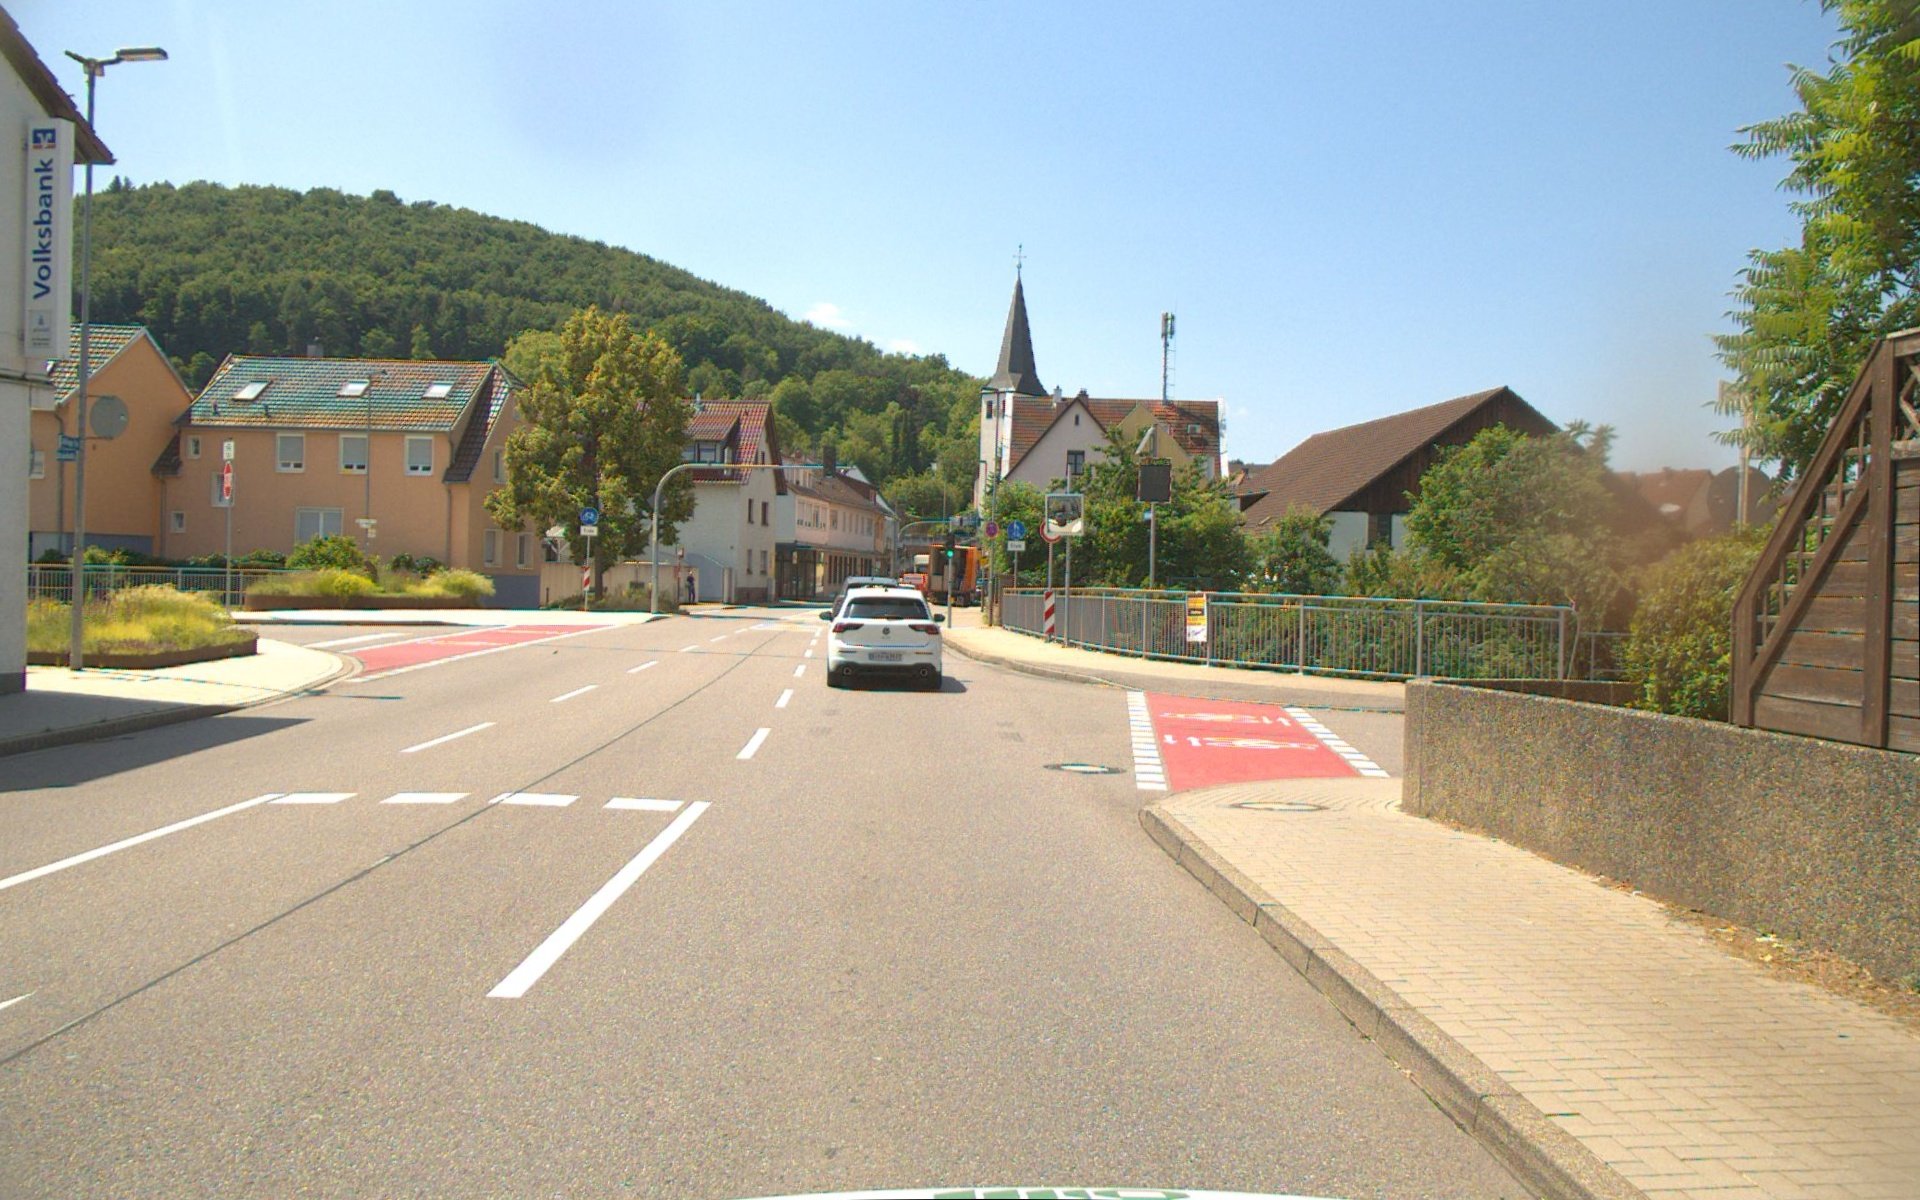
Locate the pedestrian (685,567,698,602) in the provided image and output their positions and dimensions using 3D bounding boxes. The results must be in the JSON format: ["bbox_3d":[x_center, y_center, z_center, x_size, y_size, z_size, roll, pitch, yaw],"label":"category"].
[{"bbox_3d":[-13.886,-0.799,85.554,0.425,1.795,0.557,1,0,19],"label":"pedestrian"}]

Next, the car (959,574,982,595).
[{"bbox_3d":[0.854,-1.209,130.873,1.778,1.545,4.000,0,0,0],"label":"car"}]

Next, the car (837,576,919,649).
[{"bbox_3d":[-1.925,0.277,39.759,1.778,1.657,4.000,0,0,0],"label":"car"}]

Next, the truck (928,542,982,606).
[{"bbox_3d":[-0.272,-1.757,115.480,3.297,4.243,9.521,0,0,2],"label":"truck"}]

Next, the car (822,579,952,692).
[{"bbox_3d":[-1.057,0.515,25.760,1.778,1.545,4.000,3,0,0],"label":"car"}]

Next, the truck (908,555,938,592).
[{"bbox_3d":[-3.464,-2.463,155.306,2.450,3.292,6.041,0,0,2],"label":"truck"}]

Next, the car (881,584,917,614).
[{"bbox_3d":[-3.211,-0.050,87.820,1.778,1.545,4.000,0,0,0],"label":"car"}]

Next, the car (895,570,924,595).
[{"bbox_3d":[-3.621,-1.225,119.451,1.953,1.735,4.312,0,0,0],"label":"car"}]

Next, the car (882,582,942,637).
[{"bbox_3d":[-1.465,0.296,51.860,1.778,1.657,4.000,0,0,0],"label":"car"}]
